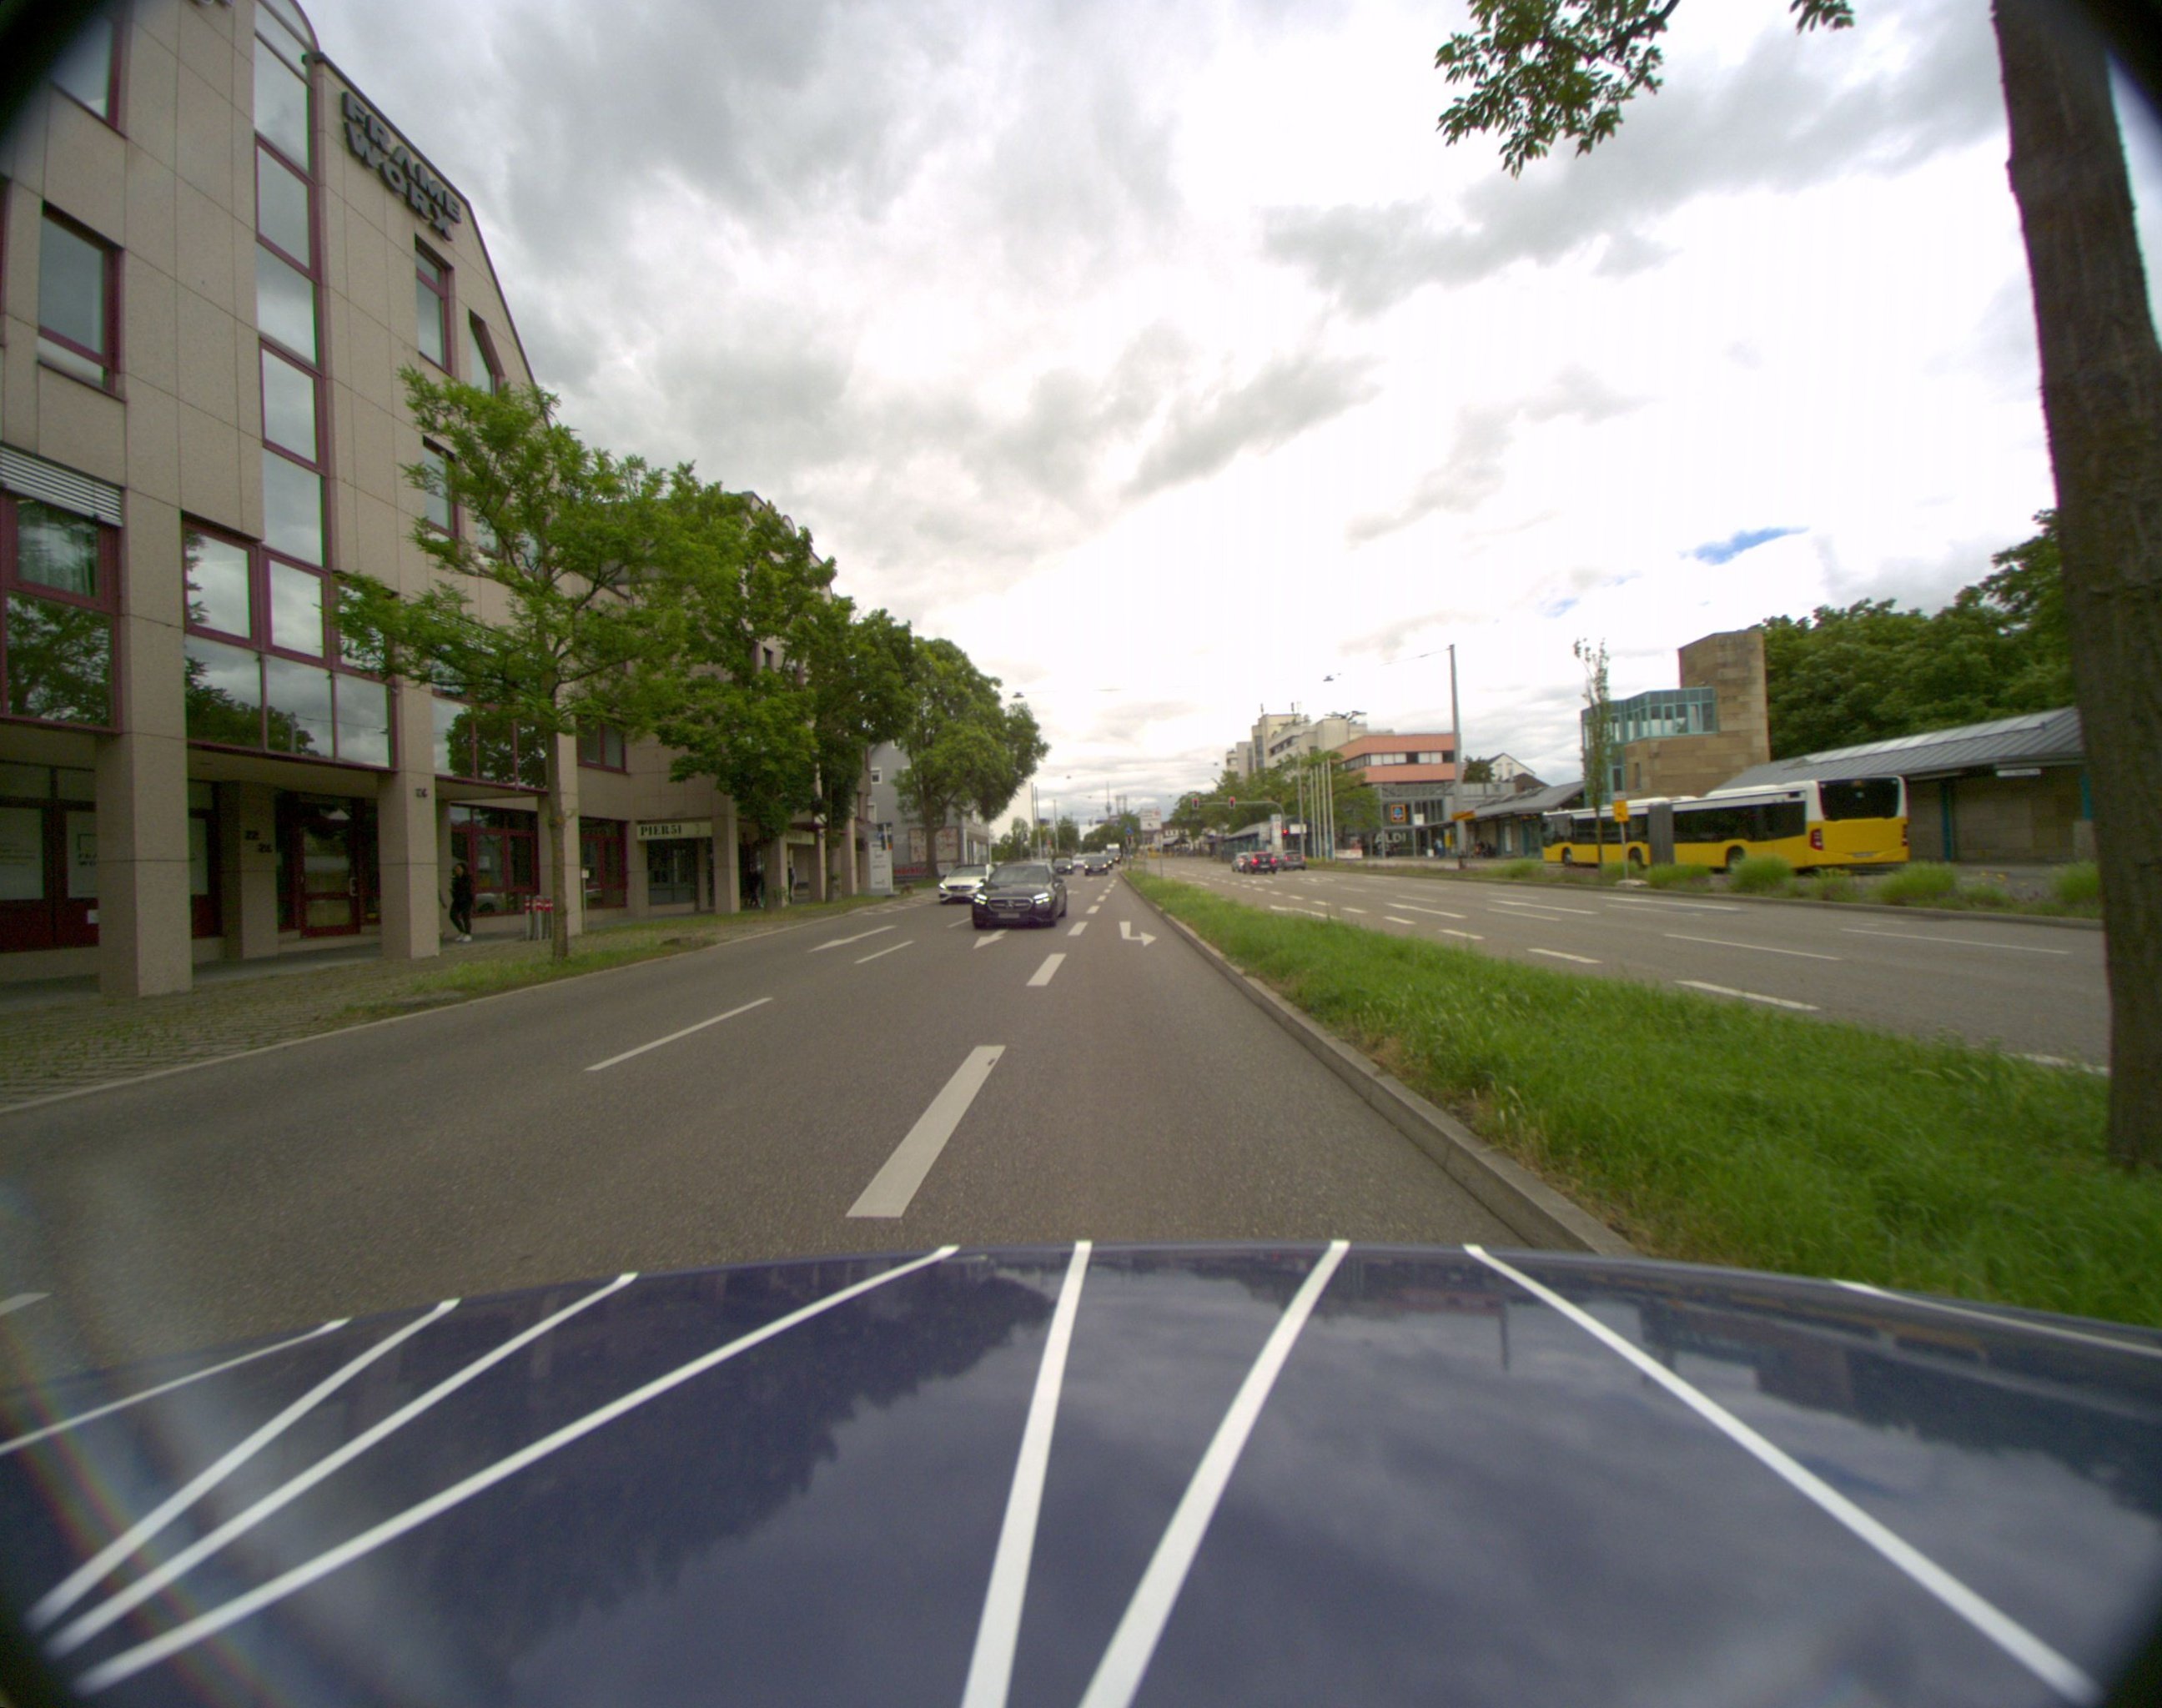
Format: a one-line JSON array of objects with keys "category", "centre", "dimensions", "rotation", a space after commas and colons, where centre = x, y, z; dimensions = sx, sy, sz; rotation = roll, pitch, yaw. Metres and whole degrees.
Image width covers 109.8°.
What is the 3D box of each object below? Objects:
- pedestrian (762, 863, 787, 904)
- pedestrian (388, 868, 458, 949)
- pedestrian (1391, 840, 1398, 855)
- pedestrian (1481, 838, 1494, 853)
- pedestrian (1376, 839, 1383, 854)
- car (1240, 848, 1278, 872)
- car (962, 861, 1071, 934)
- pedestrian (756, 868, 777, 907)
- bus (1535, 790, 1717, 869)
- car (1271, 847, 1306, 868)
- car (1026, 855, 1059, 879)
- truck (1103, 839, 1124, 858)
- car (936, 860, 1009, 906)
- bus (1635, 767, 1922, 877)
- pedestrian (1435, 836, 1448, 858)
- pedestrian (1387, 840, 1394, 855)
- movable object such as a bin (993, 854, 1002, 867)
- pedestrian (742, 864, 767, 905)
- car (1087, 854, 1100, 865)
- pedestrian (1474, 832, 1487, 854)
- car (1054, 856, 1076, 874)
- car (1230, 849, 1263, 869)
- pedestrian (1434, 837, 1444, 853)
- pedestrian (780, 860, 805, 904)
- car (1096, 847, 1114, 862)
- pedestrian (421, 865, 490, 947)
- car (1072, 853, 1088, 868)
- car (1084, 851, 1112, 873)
[{"category": "pedestrian", "centre": [-12.866, 1.212, 31.922], "dimensions": [0.659, 1.681, 0.843], "rotation": [0, 1, 4]}, {"category": "pedestrian", "centre": [-14.372, 1.163, 16.621], "dimensions": [0.596, 1.695, 0.970], "rotation": [-2, 1, 4]}, {"category": "pedestrian", "centre": [32.677, -0.721, 79.086], "dimensions": [0.486, 1.539, 0.383], "rotation": [-3, 1, -28]}, {"category": "pedestrian", "centre": [29.638, -0.624, 55.358], "dimensions": [0.621, 1.114, 0.658], "rotation": [-2, 1, 5]}, {"category": "pedestrian", "centre": [30.940, -0.770, 78.763], "dimensions": [0.529, 1.539, 0.754], "rotation": [-2, 1, 16]}, {"category": "car", "centre": [12.207, 0.393, 52.338], "dimensions": [1.662, 1.499, 3.768], "rotation": [-2, 1, 0]}, {"category": "car", "centre": [-1.399, 0.956, 18.660], "dimensions": [2.058, 1.477, 4.973], "rotation": [-1, 0, 2]}, {"category": "pedestrian", "centre": [-12.384, 1.315, 29.953], "dimensions": [0.562, 1.541, 0.544], "rotation": [0, 1, 4]}, {"category": "bus", "centre": [25.649, -1.049, 36.581], "dimensions": [2.781, 3.113, 9.443], "rotation": [-4, 0, 7]}, {"category": "car", "centre": [15.836, 0.242, 58.085], "dimensions": [1.819, 1.499, 4.001], "rotation": [-2, 1, 4]}, {"category": "car", "centre": [-2.412, 0.797, 48.376], "dimensions": [1.972, 1.430, 4.311], "rotation": [0, 0, -2]}, {"category": "truck", "centre": [5.829, -1.012, 136.768], "dimensions": [3.119, 3.209, 6.523], "rotation": [-2, 0, -1]}, {"category": "car", "centre": [-4.049, 1.047, 29.094], "dimensions": [1.798, 1.464, 4.700], "rotation": [-2, 1, 3]}, {"category": "bus", "centre": [24.448, -0.983, 27.616], "dimensions": [2.815, 3.113, 9.305], "rotation": [-4, 0, 8]}, {"category": "pedestrian", "centre": [27.614, -0.532, 58.226], "dimensions": [0.621, 1.640, 0.658], "rotation": [-2, 1, 5]}, {"category": "pedestrian", "centre": [31.936, -0.654, 78.497], "dimensions": [0.485, 1.539, 0.383], "rotation": [-3, 1, -8]}, {"category": "movable object such as a bin", "centre": [-7.278, 0.528, 66.237], "dimensions": [0.610, 1.098, 0.710], "rotation": [-3, 0, 3]}, {"category": "pedestrian", "centre": [-13.705, 1.266, 31.906], "dimensions": [0.659, 1.681, 0.843], "rotation": [0, 1, 4]}, {"category": "car", "centre": [2.066, 0.897, 125.077], "dimensions": [2.020, 1.760, 4.000], "rotation": [-2, 0, 1]}, {"category": "pedestrian", "centre": [29.734, -0.829, 56.515], "dimensions": [0.621, 1.640, 0.658], "rotation": [-2, 1, 5]}, {"category": "car", "centre": [-1.357, 0.924, 65.105], "dimensions": [1.769, 1.440, 4.419], "rotation": [-2, 1, -2]}, {"category": "car", "centre": [12.663, 0.396, 58.371], "dimensions": [1.749, 1.456, 3.790], "rotation": [-3, -1, 1]}, {"category": "pedestrian", "centre": [33.388, -0.869, 70.849], "dimensions": [0.591, 1.452, 0.993], "rotation": [-3, 0, 11]}, {"category": "pedestrian", "centre": [-12.054, 1.160, 31.791], "dimensions": [0.659, 1.815, 0.843], "rotation": [0, 1, 4]}, {"category": "car", "centre": [2.523, 0.037, 80.919], "dimensions": [1.763, 1.531, 4.048], "rotation": [-2, 0, 1]}, {"category": "pedestrian", "centre": [-13.648, 1.117, 16.605], "dimensions": [0.596, 1.695, 0.970], "rotation": [-2, 1, 4]}, {"category": "car", "centre": [-0.088, 0.702, 87.975], "dimensions": [1.763, 1.625, 4.155], "rotation": [-2, 0, 1]}, {"category": "car", "centre": [1.339, 0.633, 60.426], "dimensions": [1.972, 1.631, 4.311], "rotation": [-1, 0, -2]}]
